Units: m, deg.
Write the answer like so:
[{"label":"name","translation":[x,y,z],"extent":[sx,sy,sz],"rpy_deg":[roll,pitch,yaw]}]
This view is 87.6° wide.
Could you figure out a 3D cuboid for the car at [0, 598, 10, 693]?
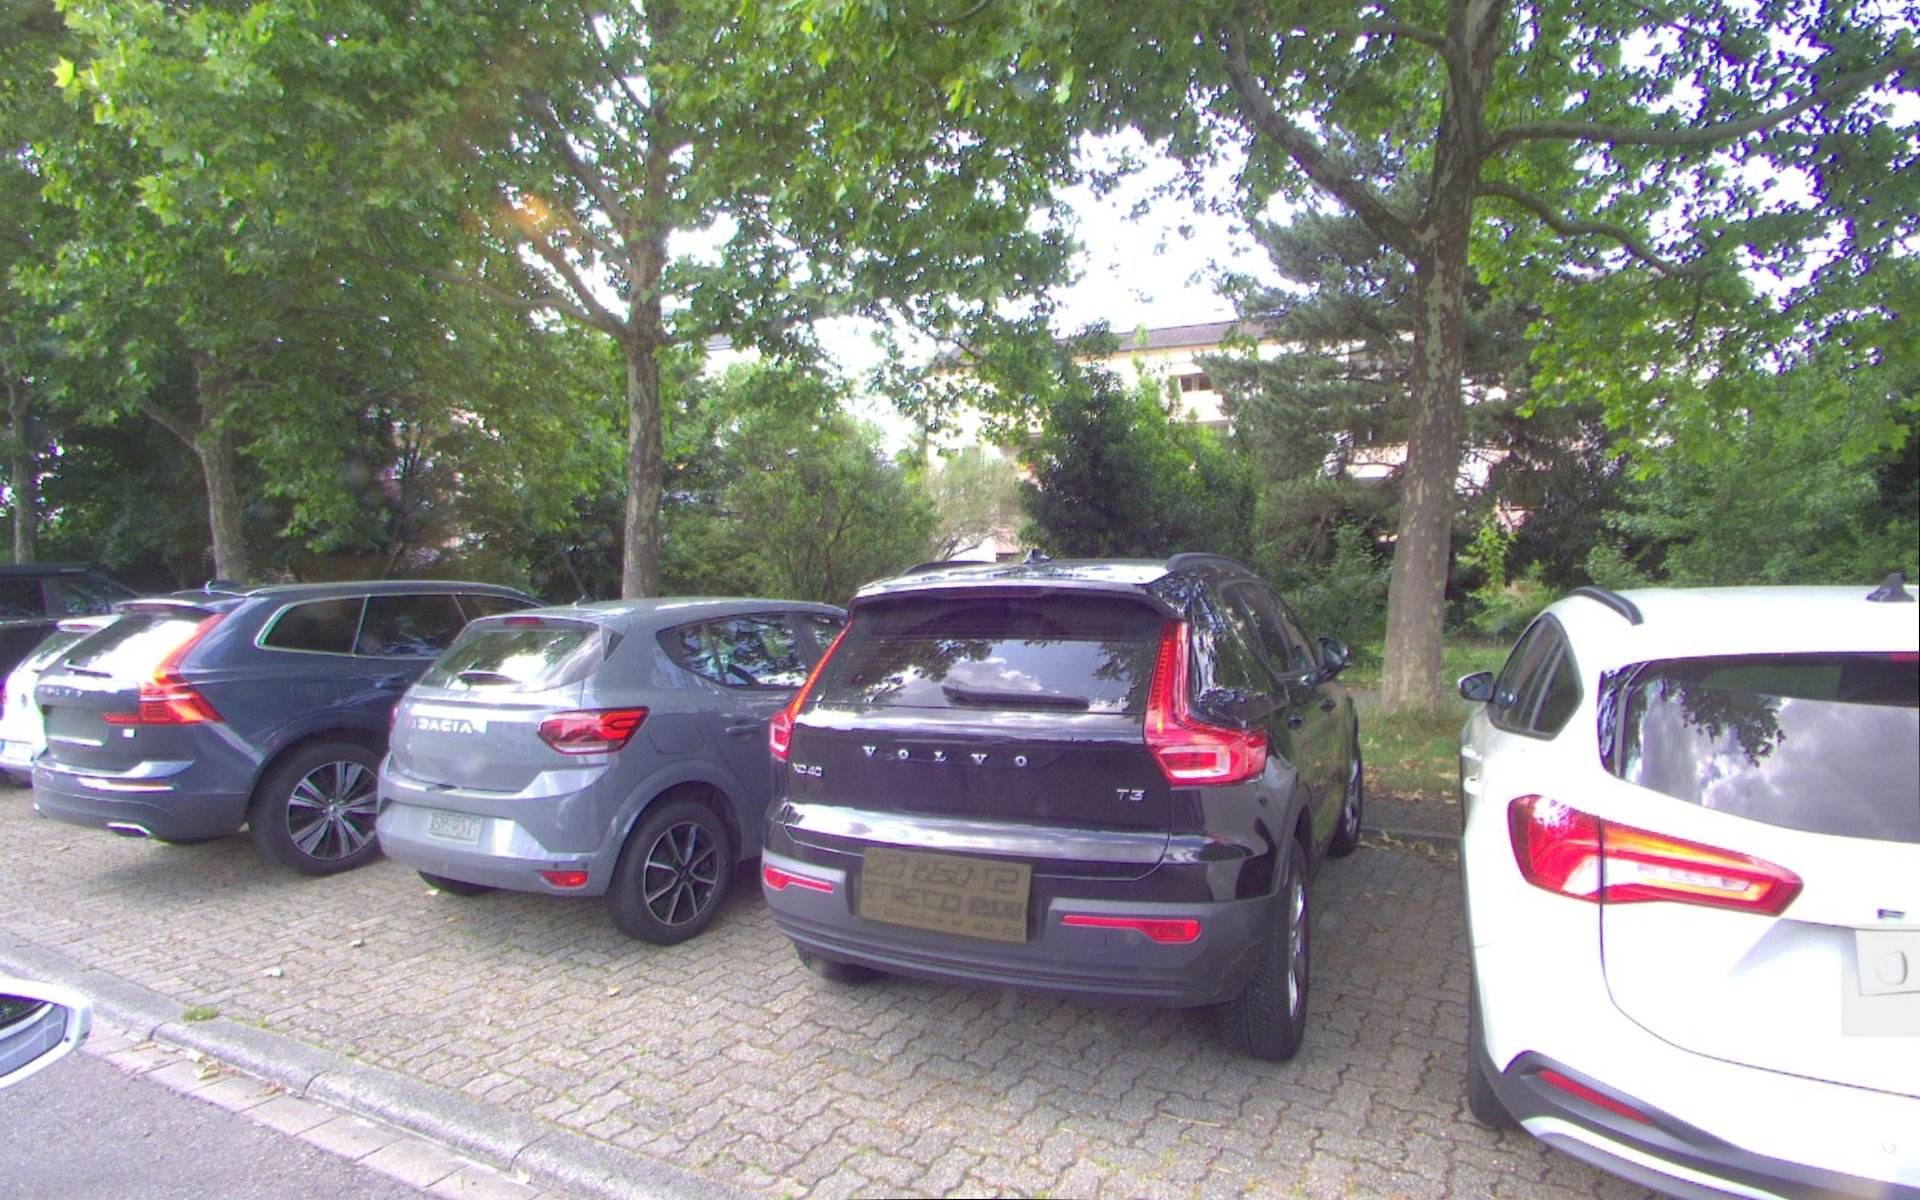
[{"label":"car","translation":[-18.792,0.847,16.228],"extent":[1.826,1.683,4.543],"rpy_deg":[0,1,26]}]

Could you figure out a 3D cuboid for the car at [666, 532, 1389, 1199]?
[{"label":"car","translation":[0.932,0.632,4.836],"extent":[1.818,1.648,4.655],"rpy_deg":[0,1,27]}]

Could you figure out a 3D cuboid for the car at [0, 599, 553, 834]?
[{"label":"car","translation":[-5.844,0.781,8.817],"extent":[1.730,1.514,3.959],"rpy_deg":[0,1,30]}]

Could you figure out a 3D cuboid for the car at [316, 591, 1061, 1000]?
[{"label":"car","translation":[-1.136,0.727,6.108],"extent":[1.731,1.521,4.371],"rpy_deg":[0,1,32]}]

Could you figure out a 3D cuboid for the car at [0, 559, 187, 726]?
[{"label":"car","translation":[-13.254,0.556,13.148],"extent":[1.828,2.152,4.538],"rpy_deg":[0,1,30]}]

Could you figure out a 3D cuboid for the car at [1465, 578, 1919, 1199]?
[{"label":"car","translation":[2.847,0.674,3.599],"extent":[1.818,1.493,4.655],"rpy_deg":[0,1,27]}]

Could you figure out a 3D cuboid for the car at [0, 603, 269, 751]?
[{"label":"car","translation":[-10.607,0.843,11.562],"extent":[1.730,1.514,3.959],"rpy_deg":[-1,1,30]}]

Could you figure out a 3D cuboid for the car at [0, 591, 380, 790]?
[{"label":"car","translation":[-8.237,0.749,10.046],"extent":[1.725,1.627,3.969],"rpy_deg":[0,1,20]}]

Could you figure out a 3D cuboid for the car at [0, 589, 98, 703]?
[{"label":"car","translation":[-16.426,0.755,15.329],"extent":[1.828,1.790,4.538],"rpy_deg":[0,1,30]}]

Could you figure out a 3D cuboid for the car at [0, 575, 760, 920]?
[{"label":"car","translation":[-3.601,0.682,7.121],"extent":[1.731,1.661,4.371],"rpy_deg":[0,1,32]}]
